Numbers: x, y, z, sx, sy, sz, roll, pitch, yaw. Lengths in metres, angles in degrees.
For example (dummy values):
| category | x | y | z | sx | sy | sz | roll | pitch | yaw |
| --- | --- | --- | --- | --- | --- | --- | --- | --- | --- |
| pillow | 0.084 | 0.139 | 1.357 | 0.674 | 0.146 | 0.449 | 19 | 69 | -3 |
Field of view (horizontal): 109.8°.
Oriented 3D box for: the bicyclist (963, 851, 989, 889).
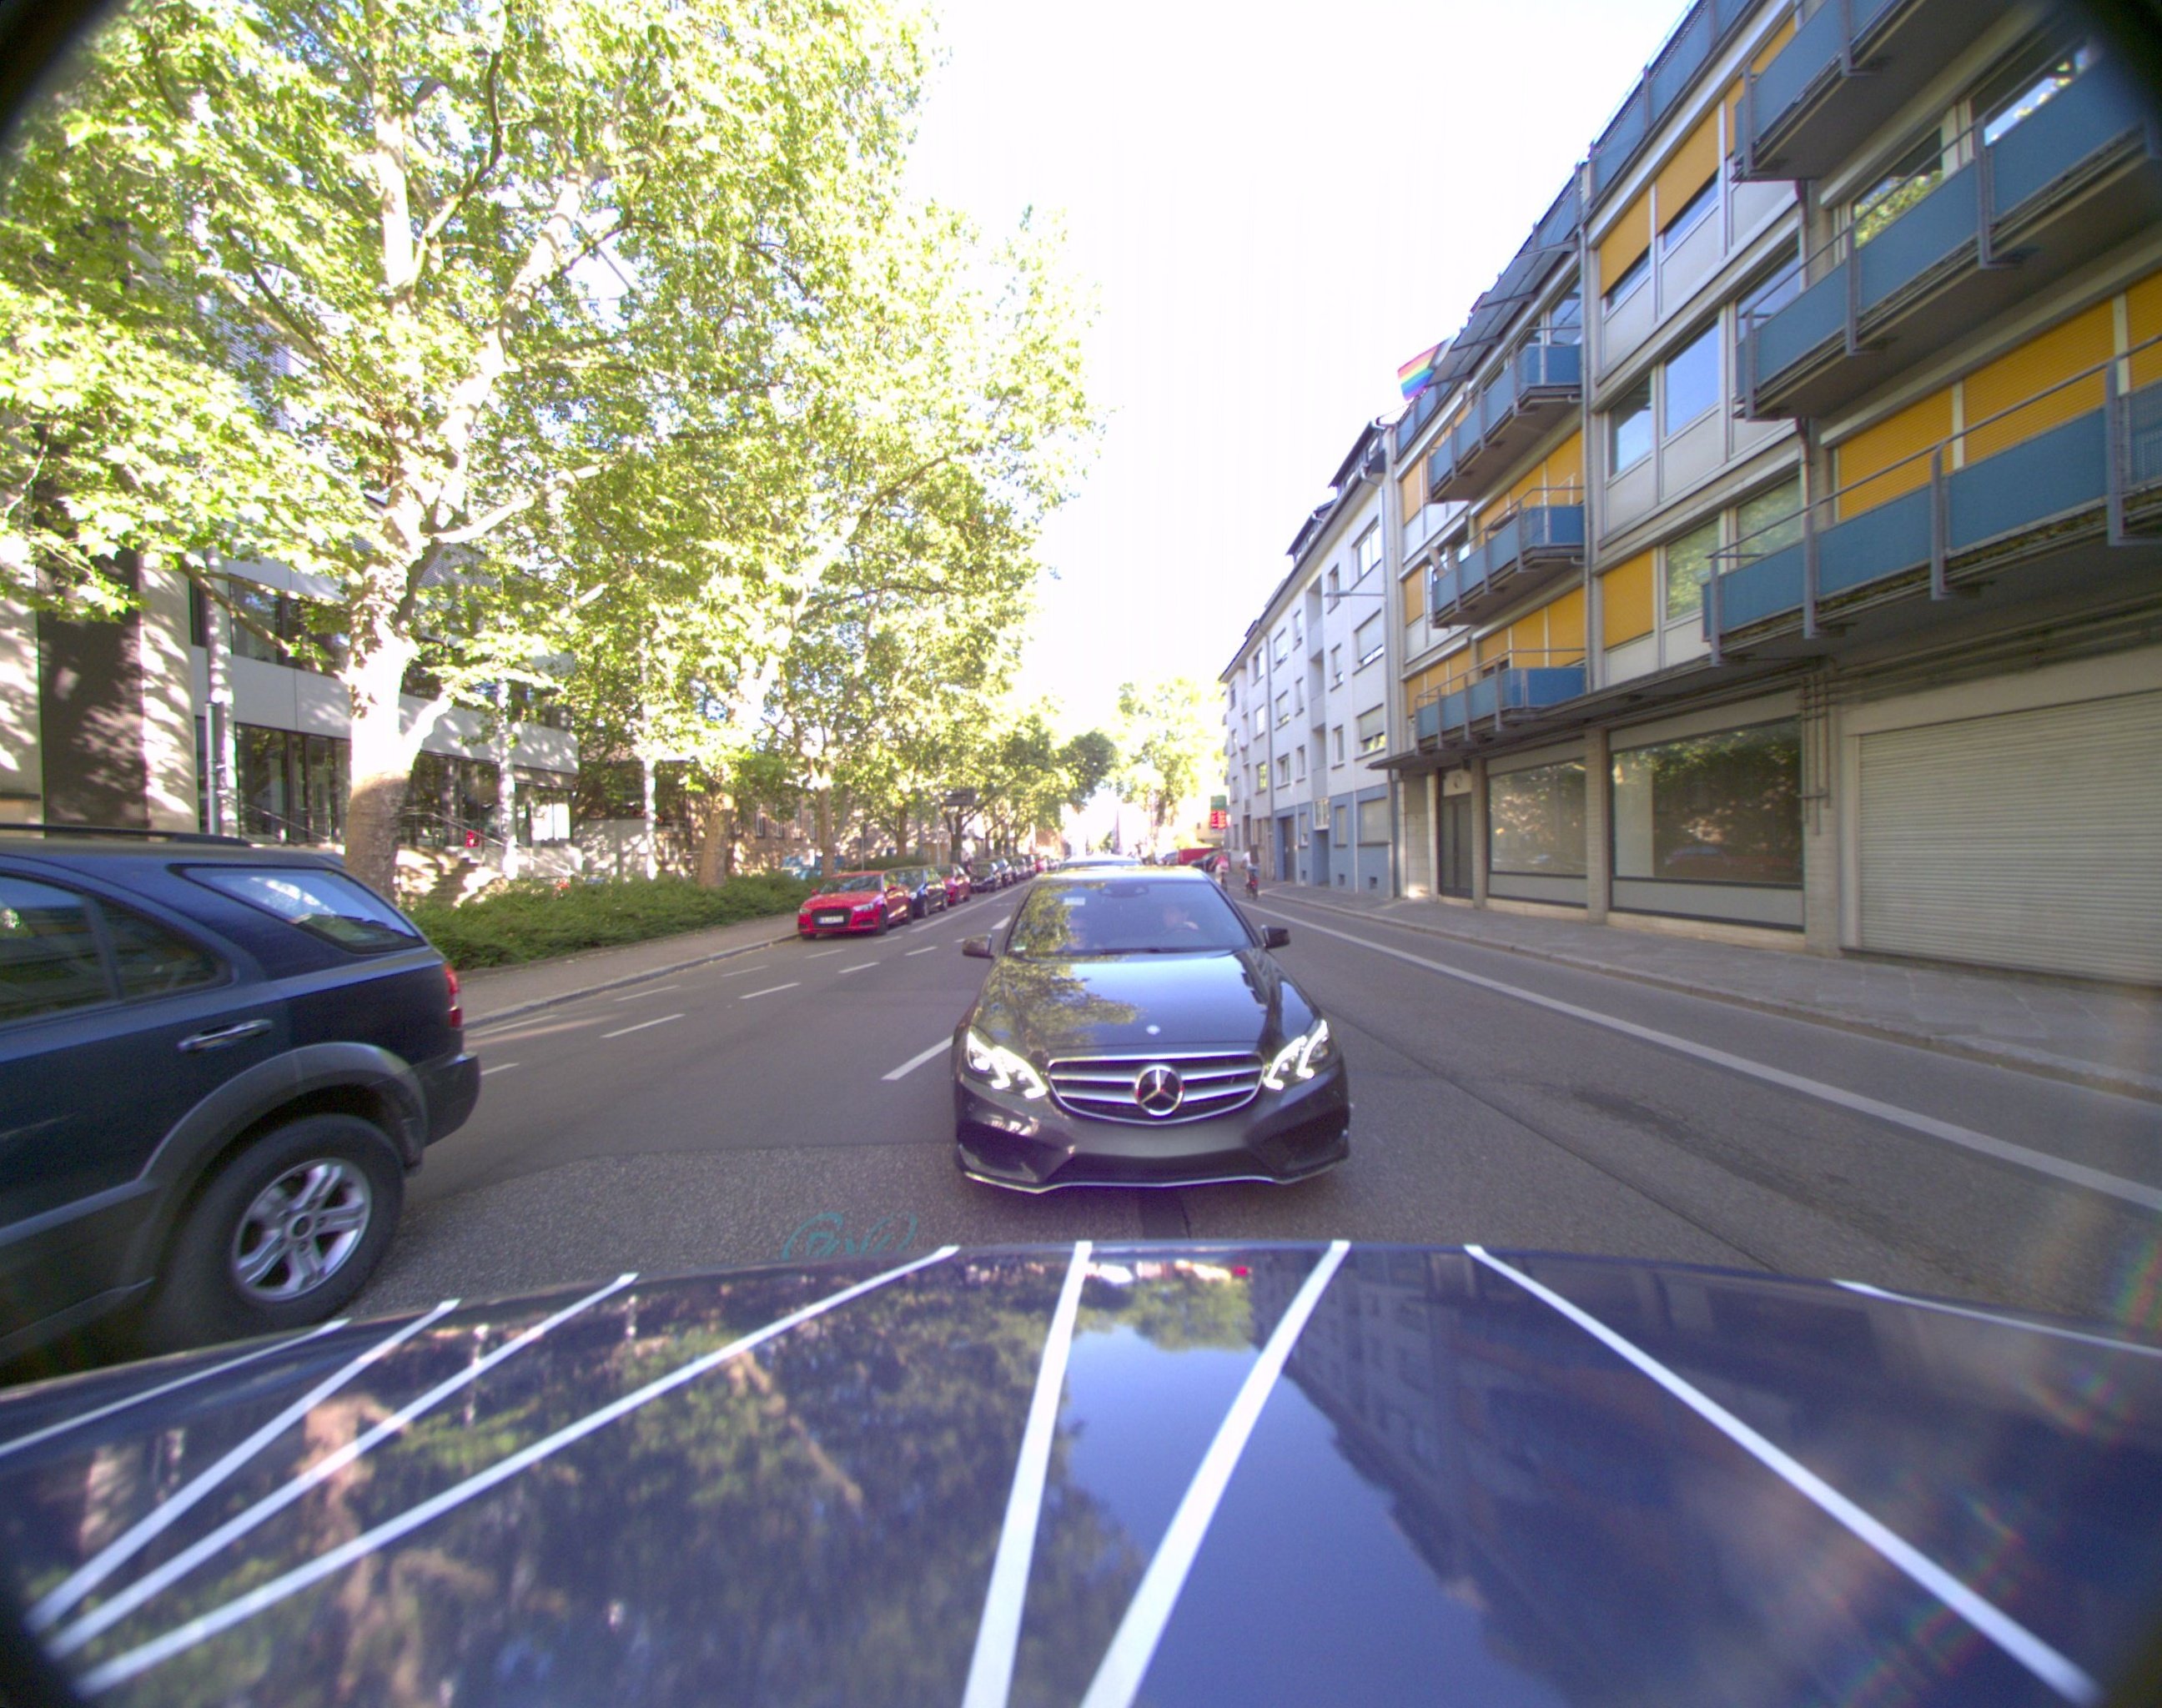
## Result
| category | x | y | z | sx | sy | sz | roll | pitch | yaw |
| --- | --- | --- | --- | --- | --- | --- | --- | --- | --- |
| bicyclist | -4.619 | 0.693 | 33.253 | 1.038 | 1.610 | 0.697 | -2 | 1 | -10 |

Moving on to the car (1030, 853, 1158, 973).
| category | x | y | z | sx | sy | sz | roll | pitch | yaw |
| --- | --- | --- | --- | --- | --- | --- | --- | --- | --- |
| car | 0.203 | 0.795 | 12.599 | 1.646 | 1.520 | 4.619 | -4 | 0 | 1 |

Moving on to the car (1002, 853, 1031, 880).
| category | x | y | z | sx | sy | sz | roll | pitch | yaw |
| --- | --- | --- | --- | --- | --- | --- | --- | --- | --- |
| car | -4.617 | 0.870 | 54.708 | 1.741 | 1.785 | 3.895 | -2 | 0 | 0 |

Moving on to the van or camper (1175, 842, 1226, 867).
| category | x | y | z | sx | sy | sz | roll | pitch | yaw |
| --- | --- | --- | --- | --- | --- | --- | --- | --- | --- |
| van or camper | 10.054 | 0.023 | 64.191 | 3.997 | 2.002 | 2.000 | -2 | 1 | 0 |

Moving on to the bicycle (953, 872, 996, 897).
| category | x | y | z | sx | sy | sz | roll | pitch | yaw |
| --- | --- | --- | --- | --- | --- | --- | --- | --- | --- |
| bicycle | -4.653 | 1.325 | 33.255 | 1.800 | 1.009 | 0.734 | -2 | 1 | -10 |

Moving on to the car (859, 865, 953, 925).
| category | x | y | z | sx | sy | sz | roll | pitch | yaw |
| --- | --- | --- | --- | --- | --- | --- | --- | --- | --- |
| car | -5.062 | 1.140 | 22.527 | 1.741 | 1.444 | 4.091 | -4 | 0 | 0 |

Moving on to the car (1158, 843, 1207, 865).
| category | x | y | z | sx | sy | sz | roll | pitch | yaw |
| --- | --- | --- | --- | --- | --- | --- | --- | --- | --- |
| car | 11.033 | -0.008 | 82.814 | 4.990 | 2.181 | 2.000 | -2 | 1 | 1 |

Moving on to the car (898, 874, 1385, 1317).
| category | x | y | z | sx | sy | sz | roll | pitch | yaw |
| --- | --- | --- | --- | --- | --- | --- | --- | --- | --- |
| car | 0.219 | 0.936 | 4.714 | 1.740 | 1.448 | 3.864 | -2 | 0 | 0 |

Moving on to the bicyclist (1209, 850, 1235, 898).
| category | x | y | z | sx | sy | sz | roll | pitch | yaw |
| --- | --- | --- | --- | --- | --- | --- | --- | --- | --- |
| bicyclist | 4.755 | 0.665 | 25.707 | 0.686 | 1.569 | 0.982 | -2 | 1 | 2 |

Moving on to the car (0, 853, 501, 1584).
| category | x | y | z | sx | sy | sz | roll | pitch | yaw |
| --- | --- | --- | --- | --- | --- | --- | --- | --- | --- |
| car | -3.574 | 0.940 | 1.182 | 1.785 | 1.760 | 4.384 | -3 | 0 | 2 |

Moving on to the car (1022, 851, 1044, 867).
| category | x | y | z | sx | sy | sz | roll | pitch | yaw |
| --- | --- | --- | --- | --- | --- | --- | --- | --- | --- |
| car | -4.388 | 0.440 | 70.437 | 1.741 | 1.469 | 4.091 | -2 | 0 | 0 |

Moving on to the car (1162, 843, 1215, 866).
| category | x | y | z | sx | sy | sz | roll | pitch | yaw |
| --- | --- | --- | --- | --- | --- | --- | --- | --- | --- |
| car | 10.909 | 0.026 | 77.332 | 4.990 | 2.181 | 2.000 | -2 | 1 | 1 |

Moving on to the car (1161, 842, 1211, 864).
| category | x | y | z | sx | sy | sz | roll | pitch | yaw |
| --- | --- | --- | --- | --- | --- | --- | --- | --- | --- |
| car | 11.029 | -0.101 | 80.183 | 4.990 | 2.181 | 2.000 | -2 | 1 | 1 |

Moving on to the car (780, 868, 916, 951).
| category | x | y | z | sx | sy | sz | roll | pitch | yaw |
| --- | --- | --- | --- | --- | --- | --- | --- | --- | --- |
| car | -5.236 | 1.177 | 17.687 | 1.830 | 1.519 | 4.142 | -4 | 0 | 0 |

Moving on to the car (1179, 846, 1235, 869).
| category | x | y | z | sx | sy | sz | roll | pitch | yaw |
| --- | --- | --- | --- | --- | --- | --- | --- | --- | --- |
| car | 10.133 | 0.269 | 61.284 | 4.146 | 1.681 | 2.000 | -2 | 0 | 1 |

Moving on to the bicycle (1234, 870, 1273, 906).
| category | x | y | z | sx | sy | sz | roll | pitch | yaw |
| --- | --- | --- | --- | --- | --- | --- | --- | --- | --- |
| bicycle | 5.776 | 1.126 | 25.542 | 0.865 | 1.072 | 1.836 | -2 | 0 | 1 |

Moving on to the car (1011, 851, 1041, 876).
| category | x | y | z | sx | sy | sz | roll | pitch | yaw |
| --- | --- | --- | --- | --- | --- | --- | --- | --- | --- |
| car | -4.282 | 0.724 | 59.841 | 1.992 | 1.795 | 4.376 | -2 | 0 | 0 |

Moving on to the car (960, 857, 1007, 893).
| category | x | y | z | sx | sy | sz | roll | pitch | yaw |
| --- | --- | --- | --- | --- | --- | --- | --- | --- | --- |
| car | -4.731 | 0.989 | 37.351 | 1.741 | 1.622 | 4.091 | -2 | 0 | 0 |

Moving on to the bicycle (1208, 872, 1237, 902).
| category | x | y | z | sx | sy | sz | roll | pitch | yaw |
| --- | --- | --- | --- | --- | --- | --- | --- | --- | --- |
| bicycle | 4.776 | 1.096 | 25.759 | 0.695 | 0.924 | 1.863 | -2 | 0 | 2 |

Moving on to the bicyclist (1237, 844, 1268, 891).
| category | x | y | z | sx | sy | sz | roll | pitch | yaw |
| --- | --- | --- | --- | --- | --- | --- | --- | --- | --- |
| bicyclist | 5.748 | 0.443 | 25.461 | 0.844 | 1.546 | 0.839 | -2 | 1 | 2 |

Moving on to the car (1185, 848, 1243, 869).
| category | x | y | z | sx | sy | sz | roll | pitch | yaw |
| --- | --- | --- | --- | --- | --- | --- | --- | --- | --- |
| car | 10.310 | 0.324 | 58.954 | 4.146 | 1.486 | 2.000 | -2 | 0 | 1 |

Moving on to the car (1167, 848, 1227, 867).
| category | x | y | z | sx | sy | sz | roll | pitch | yaw |
| --- | --- | --- | --- | --- | --- | --- | --- | --- | --- |
| car | 10.156 | 0.284 | 66.694 | 4.990 | 1.486 | 2.000 | -2 | 0 | 1 |

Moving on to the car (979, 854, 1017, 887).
| category | x | y | z | sx | sy | sz | roll | pitch | yaw |
| --- | --- | --- | --- | --- | --- | --- | --- | --- | --- |
| car | -4.567 | 0.870 | 42.336 | 1.634 | 1.677 | 3.907 | -2 | 0 | 0 |

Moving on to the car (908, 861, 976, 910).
| category | x | y | z | sx | sy | sz | roll | pitch | yaw |
| --- | --- | --- | --- | --- | --- | --- | --- | --- | --- |
| car | -4.986 | 1.089 | 27.694 | 1.681 | 1.484 | 3.918 | -4 | 0 | 0 |
